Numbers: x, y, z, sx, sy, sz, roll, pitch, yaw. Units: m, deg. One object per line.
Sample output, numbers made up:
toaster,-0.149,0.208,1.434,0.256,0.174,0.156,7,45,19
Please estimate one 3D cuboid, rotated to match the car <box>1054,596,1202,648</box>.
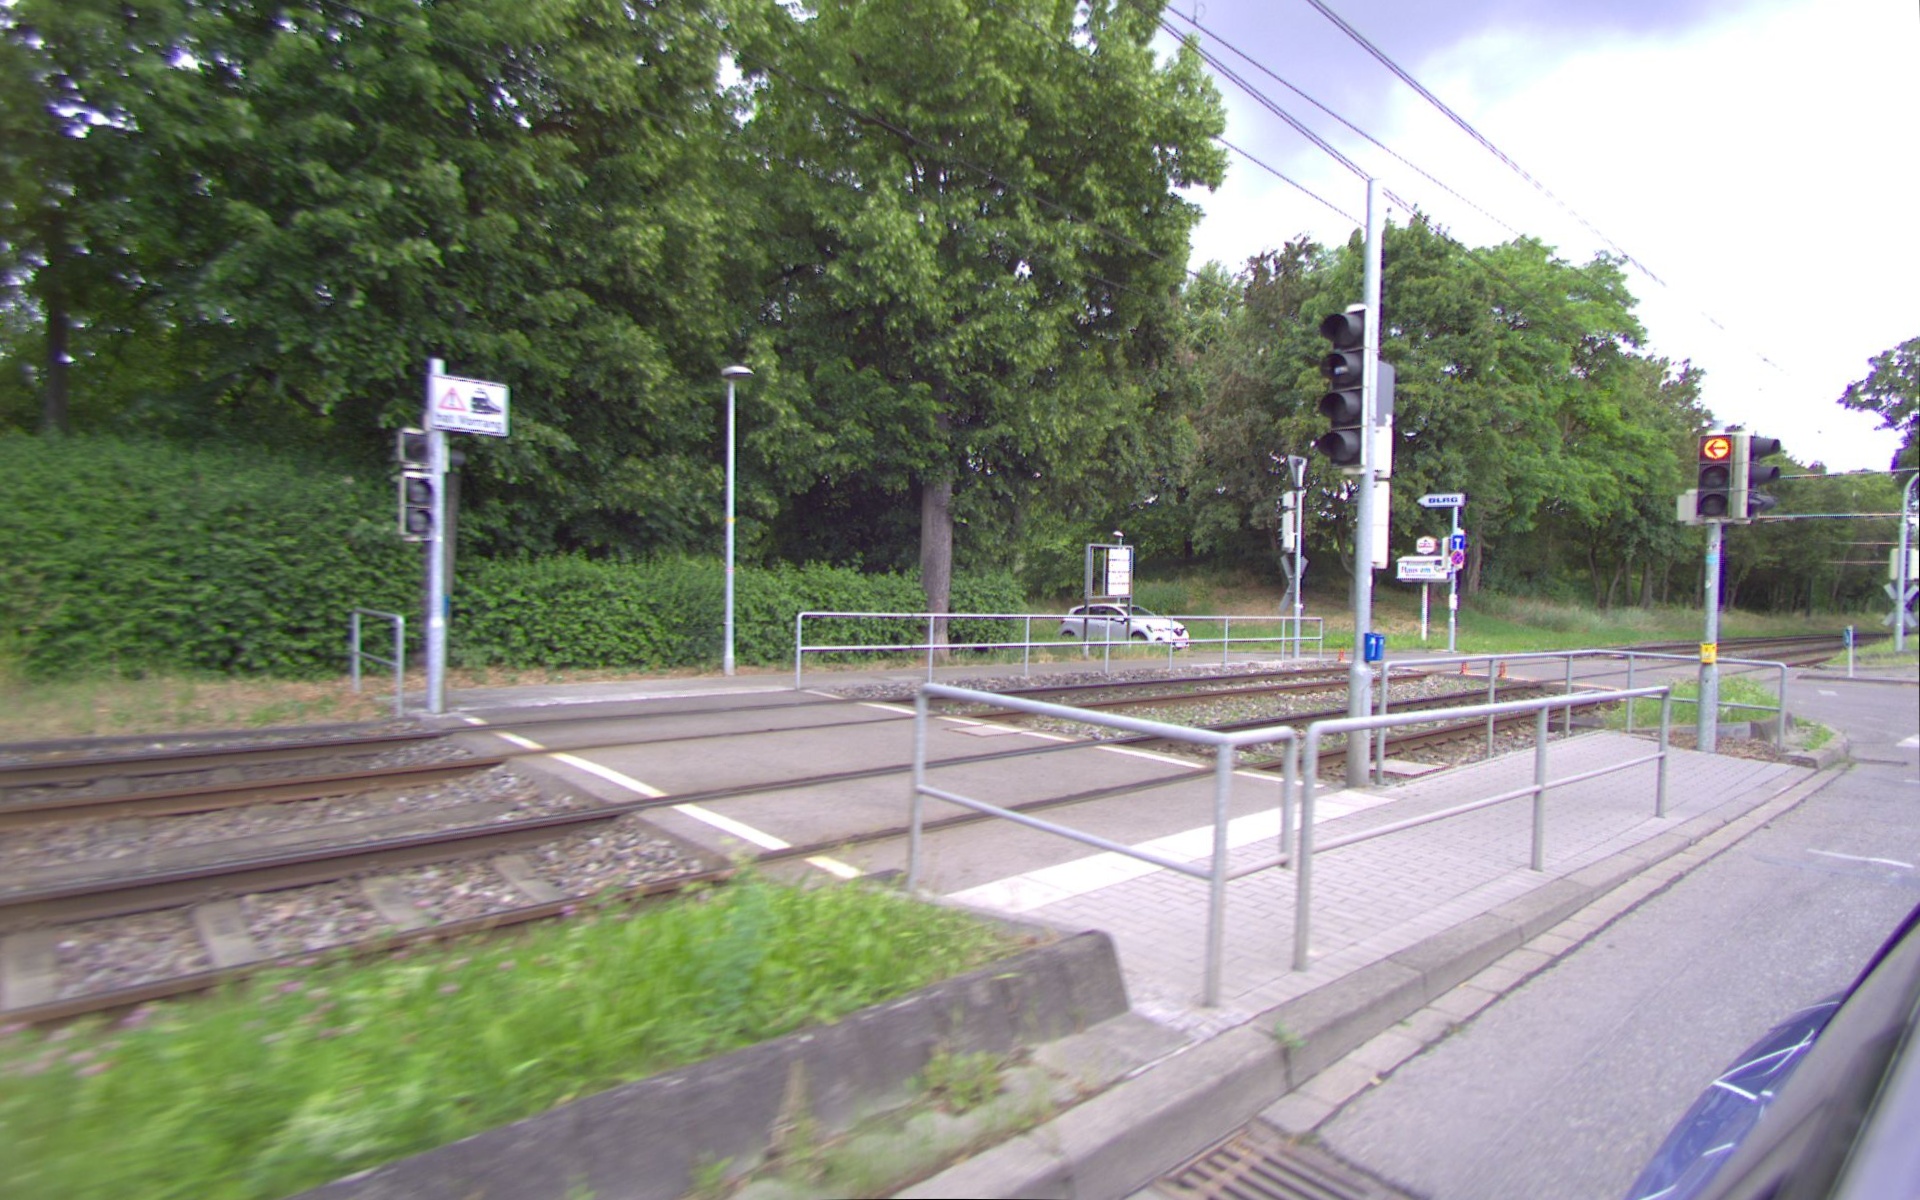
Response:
car,4.799,0.633,29.319,1.755,1.402,3.990,1,-1,-43
